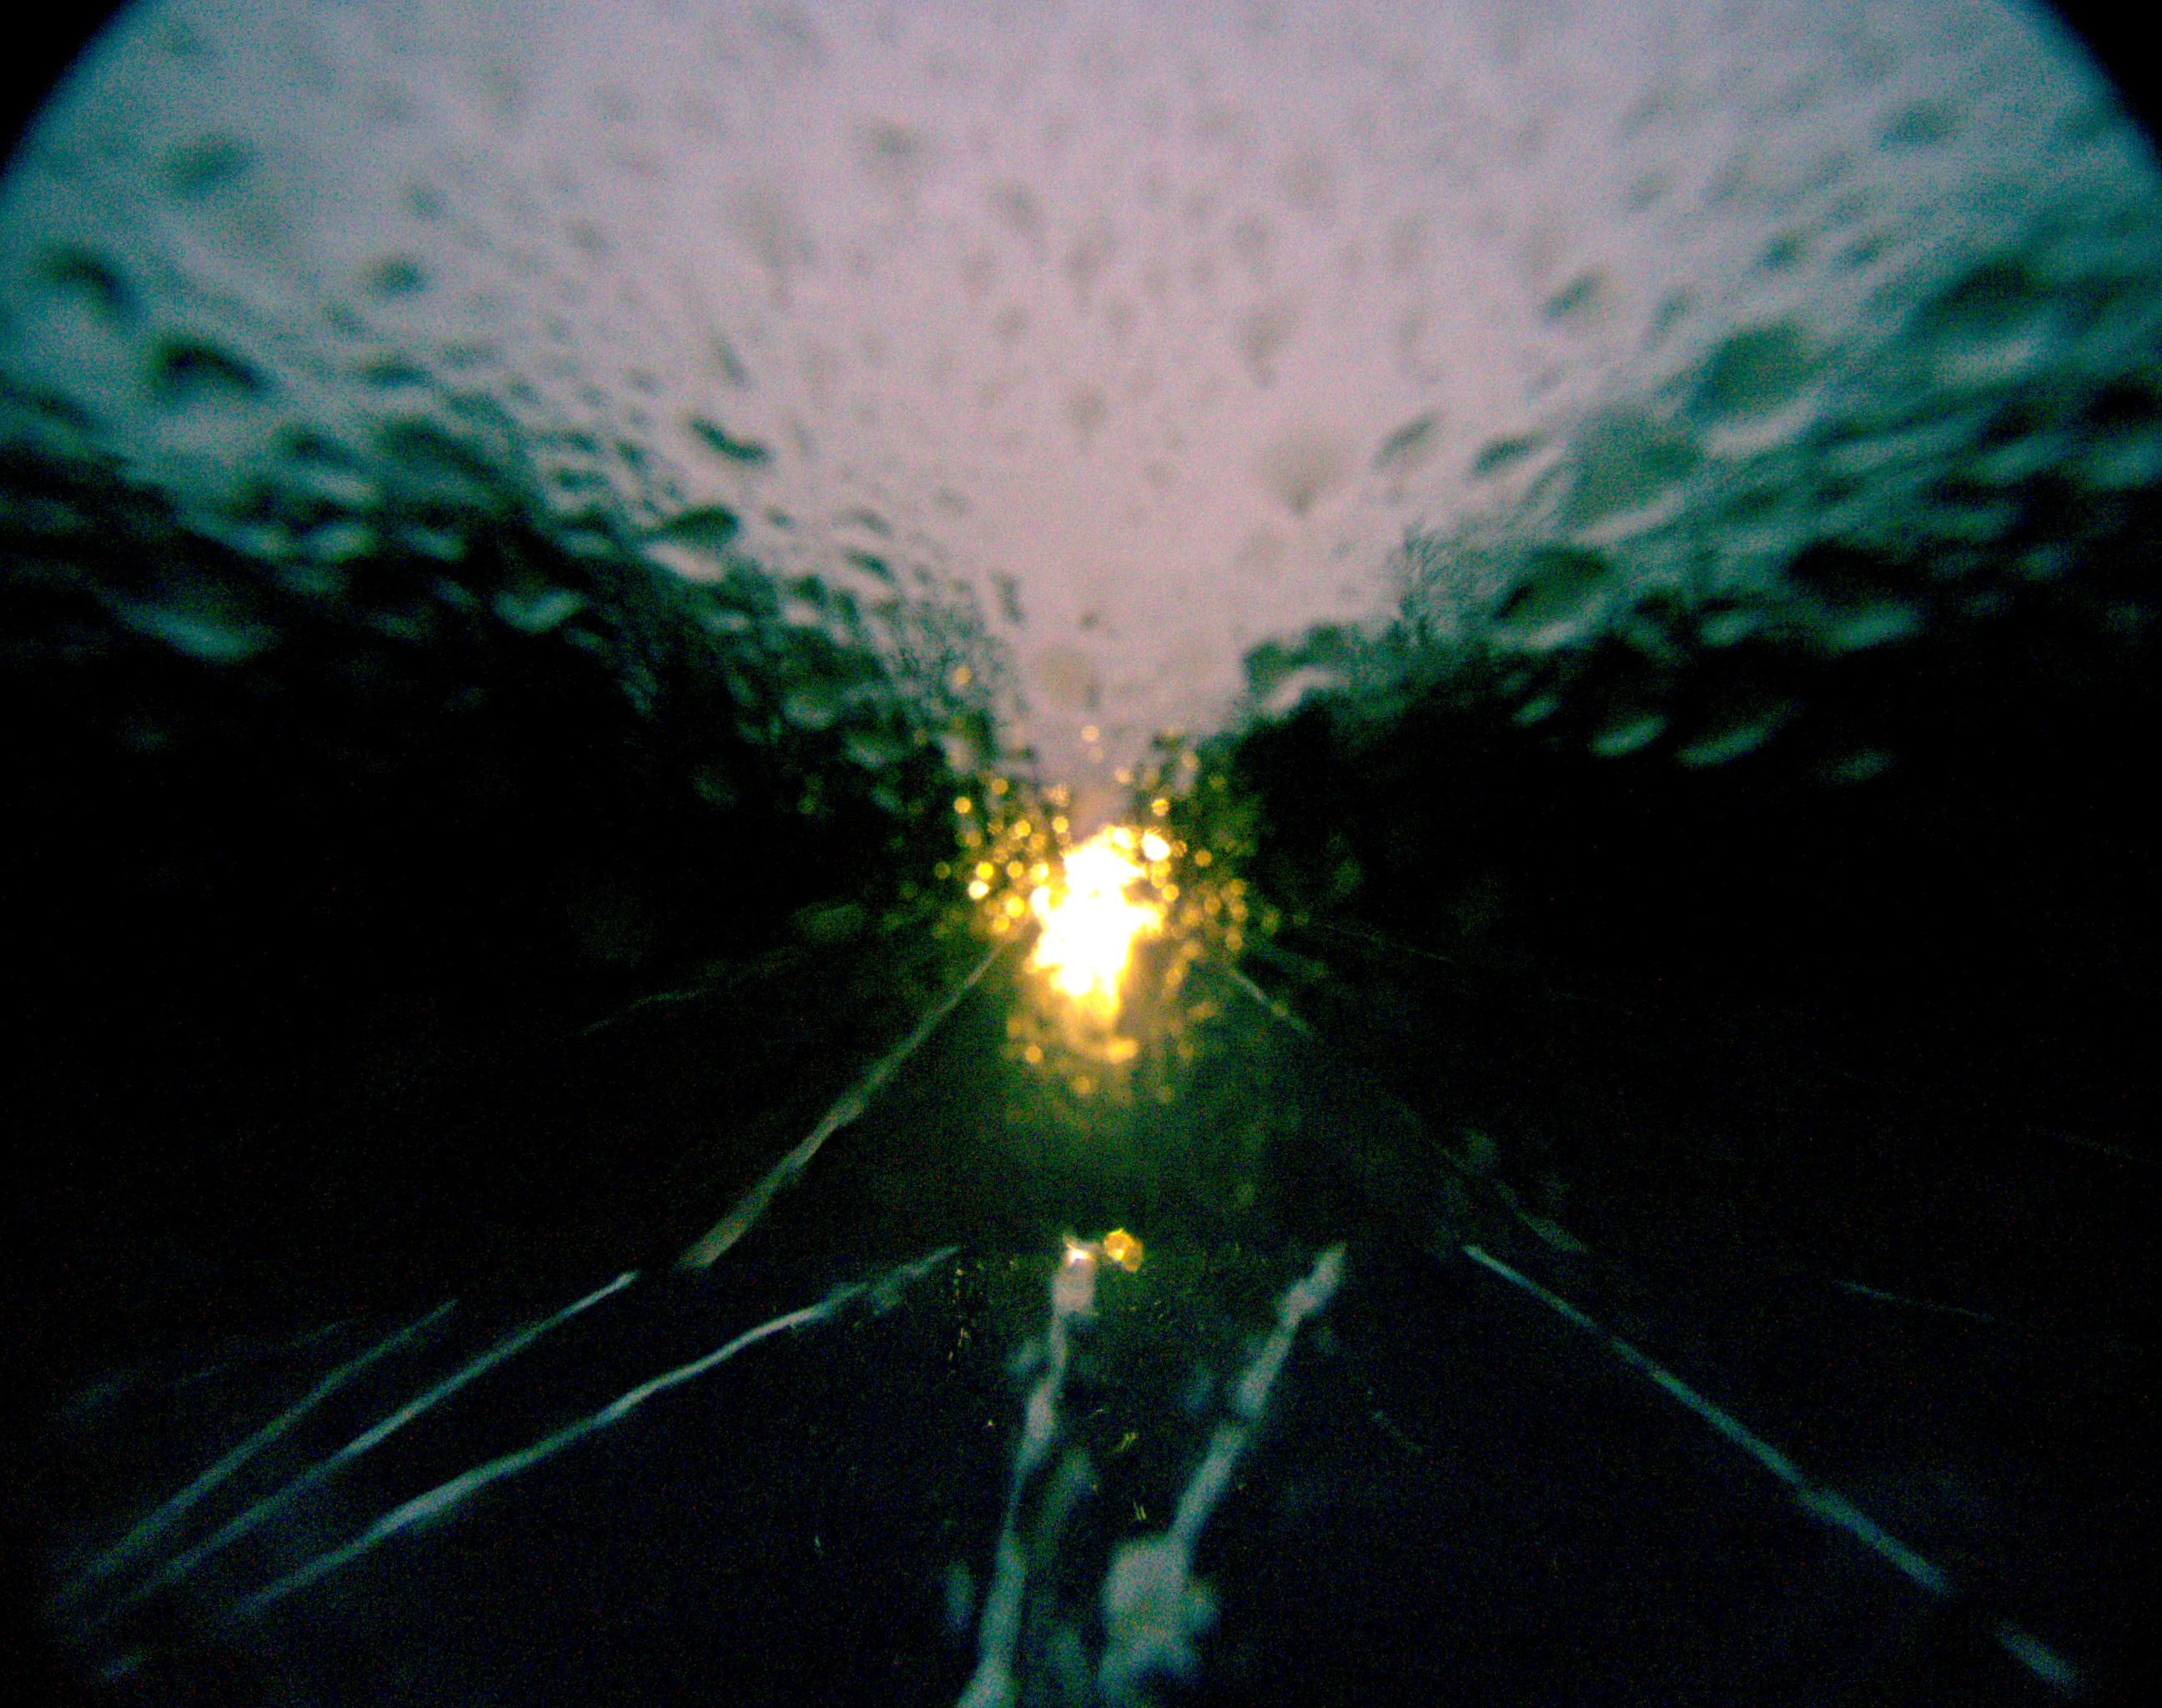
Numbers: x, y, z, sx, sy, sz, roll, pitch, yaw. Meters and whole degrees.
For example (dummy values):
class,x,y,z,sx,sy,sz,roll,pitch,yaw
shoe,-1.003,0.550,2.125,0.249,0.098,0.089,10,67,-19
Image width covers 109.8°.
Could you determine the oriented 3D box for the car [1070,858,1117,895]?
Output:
class,x,y,z,sx,sy,sz,roll,pitch,yaw
car,0.538,0.891,31.663,1.845,1.390,4.000,-1,0,1
